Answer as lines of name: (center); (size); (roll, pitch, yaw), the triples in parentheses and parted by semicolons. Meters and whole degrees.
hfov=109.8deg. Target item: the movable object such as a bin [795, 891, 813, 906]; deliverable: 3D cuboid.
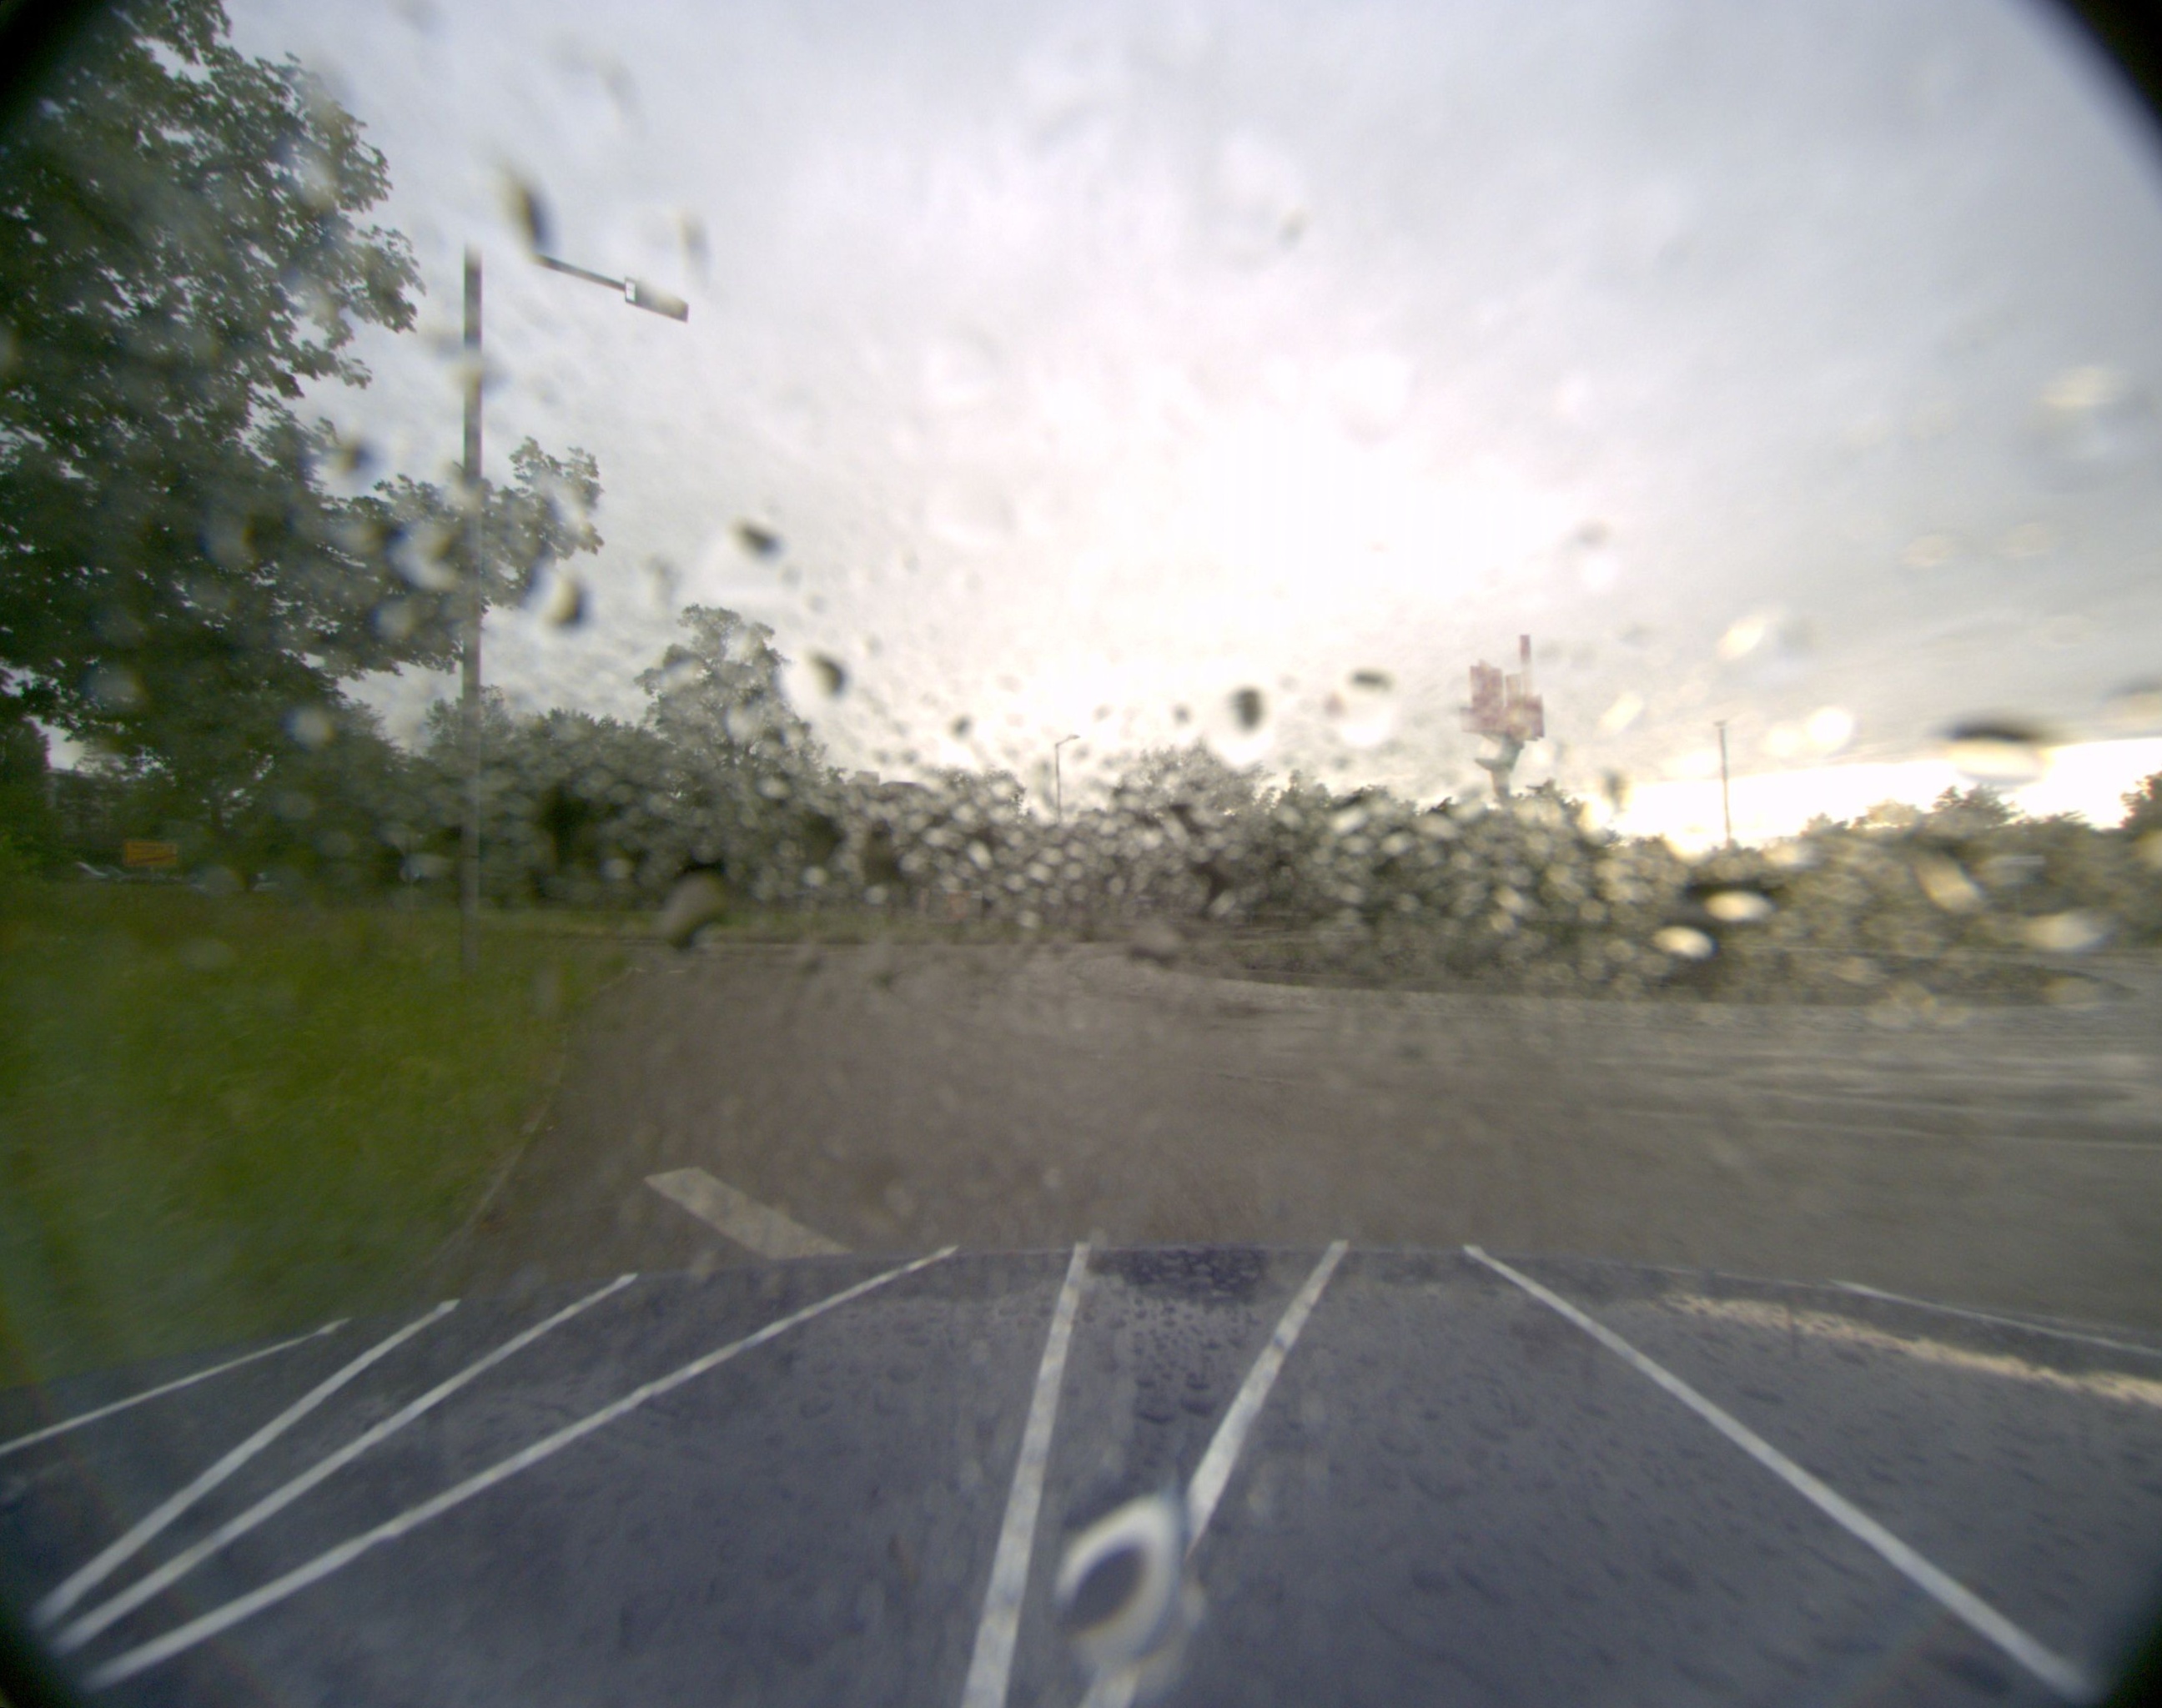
movable object such as a bin: (-26.798, 4.318, 73.563); (1.072, 1.428, 1.200); (-1, -1, 29)

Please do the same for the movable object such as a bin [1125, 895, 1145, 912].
movable object such as a bin: (4.512, 4.119, 63.252); (1.072, 1.428, 1.200); (-2, -2, 44)

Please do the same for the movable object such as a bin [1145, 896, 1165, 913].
movable object such as a bin: (6.060, 4.117, 62.442); (1.072, 1.334, 1.200); (-2, -1, 44)

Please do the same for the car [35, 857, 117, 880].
car: (-131.180, 1.886, 99.308); (5.925, 2.634, 2.473); (-3, -2, -27)

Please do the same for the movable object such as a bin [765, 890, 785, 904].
movable object such as a bin: (-30.128, 4.228, 74.864); (1.425, 1.428, 1.201); (-1, -3, 28)
